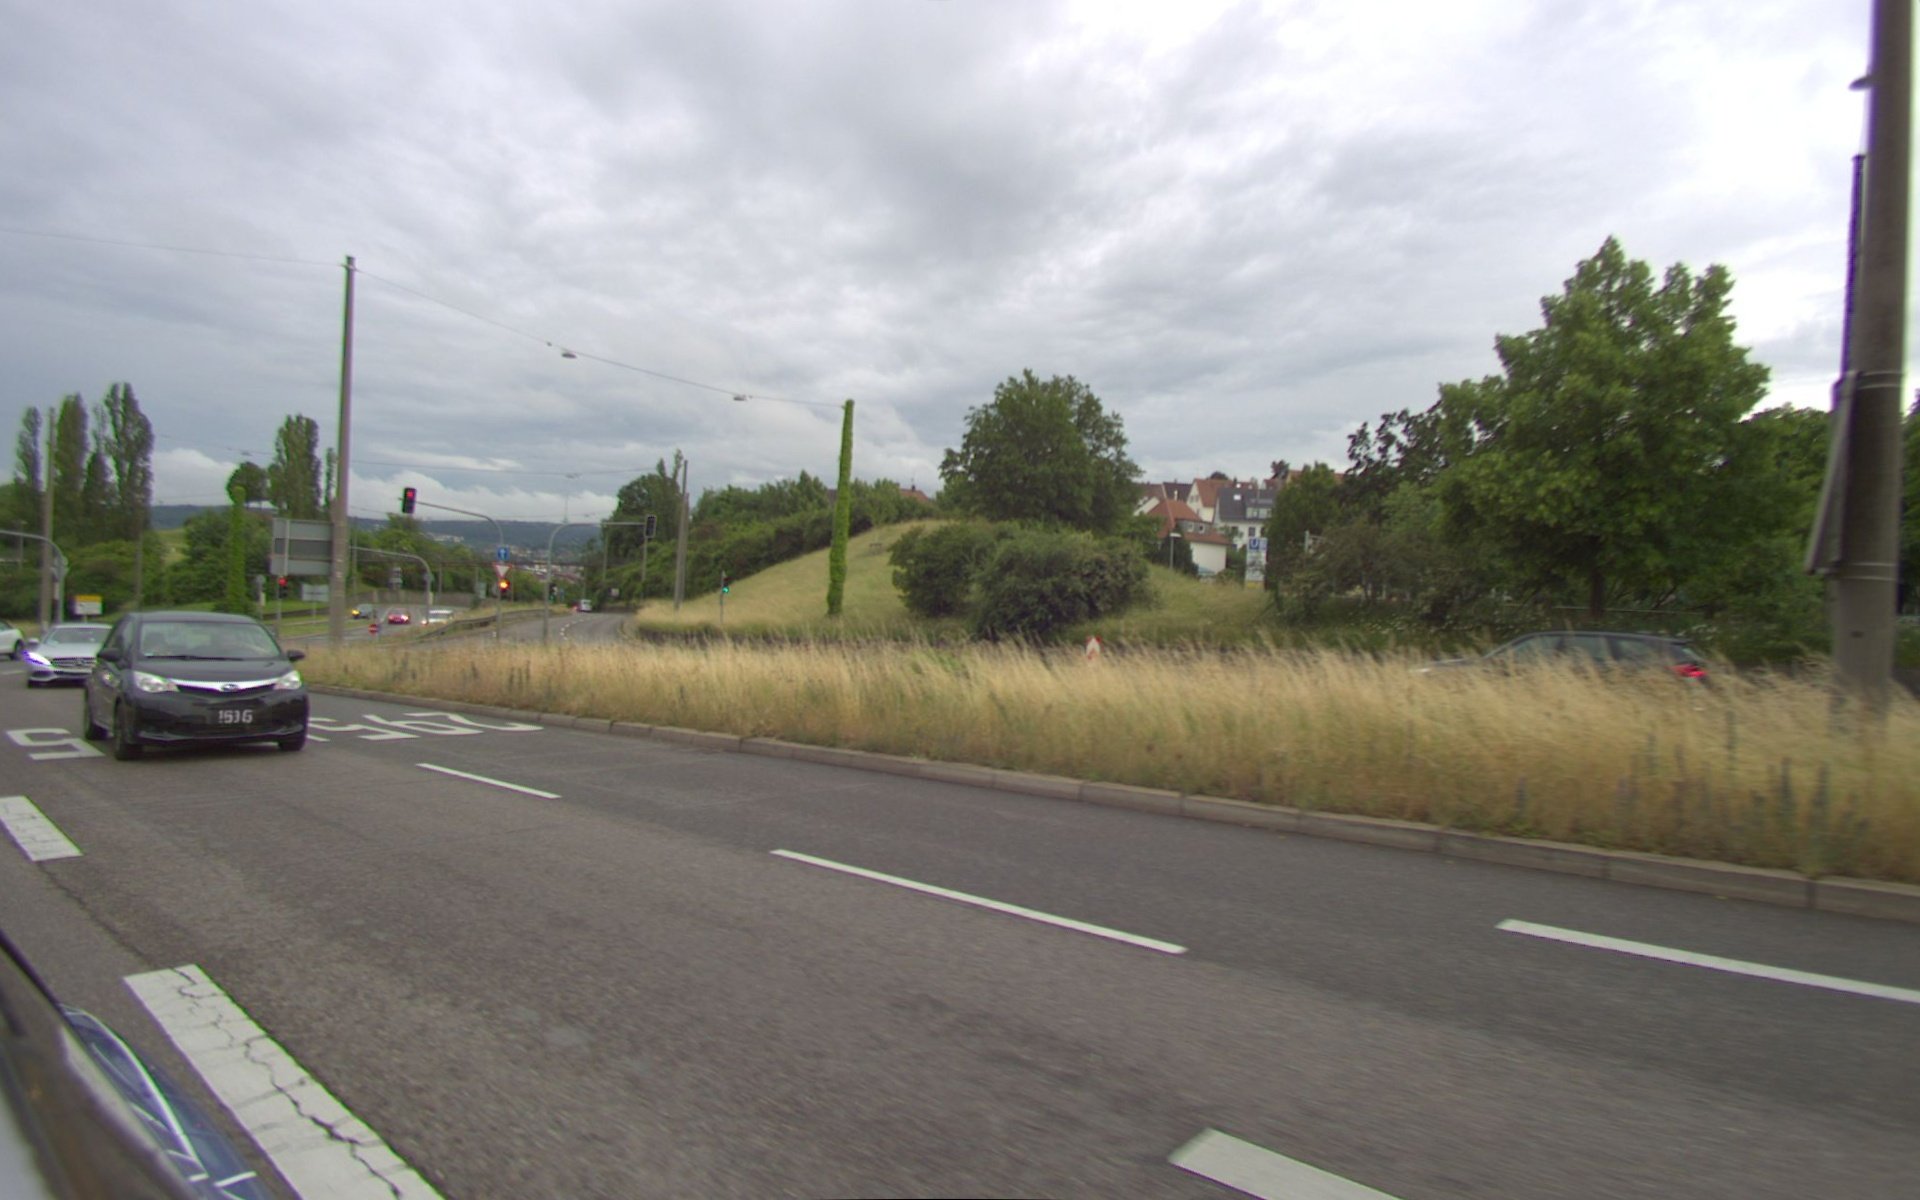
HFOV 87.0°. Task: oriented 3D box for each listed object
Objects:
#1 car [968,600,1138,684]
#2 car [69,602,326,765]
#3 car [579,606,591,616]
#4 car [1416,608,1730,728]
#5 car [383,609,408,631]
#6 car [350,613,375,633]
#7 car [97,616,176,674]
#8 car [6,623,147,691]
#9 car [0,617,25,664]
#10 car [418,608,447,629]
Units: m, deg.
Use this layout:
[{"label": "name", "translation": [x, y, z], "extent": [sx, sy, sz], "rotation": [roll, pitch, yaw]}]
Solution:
[{"label": "car", "translation": [2.402, 1.056, 26.546], "extent": [3.994, 2.029, 1.975], "rotation": [0, -3, 38]}, {"label": "car", "translation": [-9.051, 0.894, 11.891], "extent": [4.044, 1.577, 1.775], "rotation": [-2, -4, 44]}, {"label": "car", "translation": [-54.929, 1.636, 148.331], "extent": [1.535, 1.443, 3.240], "rotation": [-1, 1, -18]}, {"label": "car", "translation": [9.467, 0.963, 15.764], "extent": [3.994, 1.632, 1.844], "rotation": [-1, -1, 38]}, {"label": "car", "translation": [-53.973, 1.946, 96.877], "extent": [1.965, 2.029, 4.013], "rotation": [1, -2, -28]}, {"label": "car", "translation": [-62.504, 2.400, 105.939], "extent": [1.965, 2.029, 4.013], "rotation": [1, -2, -27]}, {"label": "car", "translation": [-26.720, 1.415, 32.836], "extent": [1.898, 1.748, 4.032], "rotation": [0, -1, -40]}, {"label": "car", "translation": [-20.779, 1.264, 23.736], "extent": [4.524, 1.419, 1.972], "rotation": [-1, -2, 43]}, {"label": "car", "translation": [-35.432, 1.534, 36.046], "extent": [1.812, 1.551, 3.831], "rotation": [0, 4, -22]}, {"label": "car", "translation": [-42.691, 1.478, 81.880], "extent": [1.965, 1.705, 4.302], "rotation": [0, -1, -29]}]
